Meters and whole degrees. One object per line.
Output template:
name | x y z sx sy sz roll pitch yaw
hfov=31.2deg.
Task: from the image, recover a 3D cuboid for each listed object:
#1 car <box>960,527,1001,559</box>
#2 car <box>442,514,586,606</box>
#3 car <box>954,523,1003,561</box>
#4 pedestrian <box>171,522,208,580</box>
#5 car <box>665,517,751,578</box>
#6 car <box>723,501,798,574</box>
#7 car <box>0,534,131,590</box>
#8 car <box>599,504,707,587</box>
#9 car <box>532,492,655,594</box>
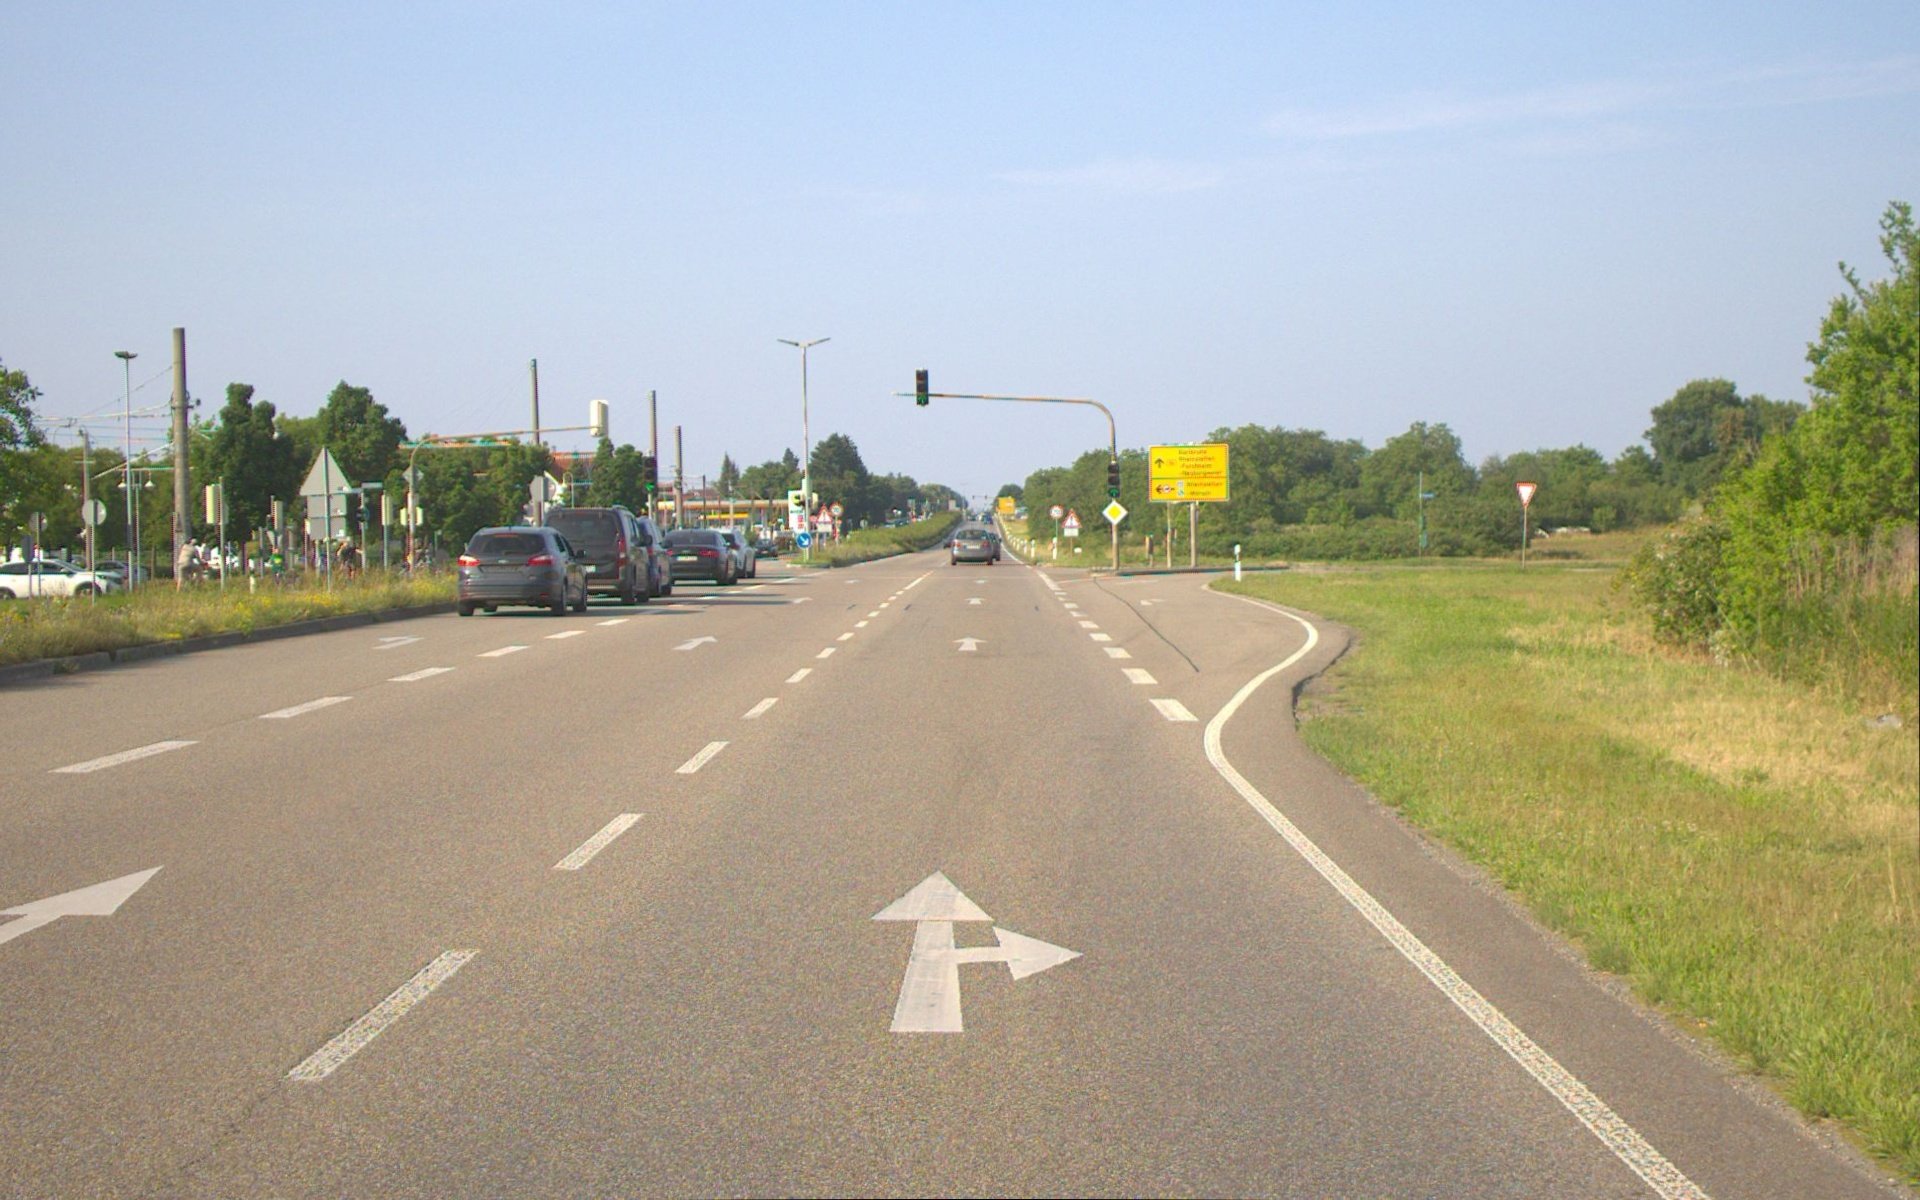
car | 1.051 -2.889 174.175 1.993 1.546 4.000 -1 1 1
car | -7.436 -0.700 57.677 1.732 1.451 4.520 -1 1 1
car | 0.808 -2.469 145.839 1.993 1.546 4.000 -1 1 1
pedestrian | -22.898 -1.462 102.230 0.915 1.700 1.067 1 0 -5
car | -6.332 -1.348 86.787 1.770 1.466 4.015 -1 1 1
car | -5.632 -1.772 97.403 1.829 2.007 4.000 -1 1 1
car | -28.176 -1.181 108.026 3.986 1.656 1.888 1 0 -10
car | -6.441 -1.179 72.629 1.770 1.673 4.520 -1 1 1
car | -6.877 -1.095 64.883 1.732 1.849 4.520 -1 1 1
